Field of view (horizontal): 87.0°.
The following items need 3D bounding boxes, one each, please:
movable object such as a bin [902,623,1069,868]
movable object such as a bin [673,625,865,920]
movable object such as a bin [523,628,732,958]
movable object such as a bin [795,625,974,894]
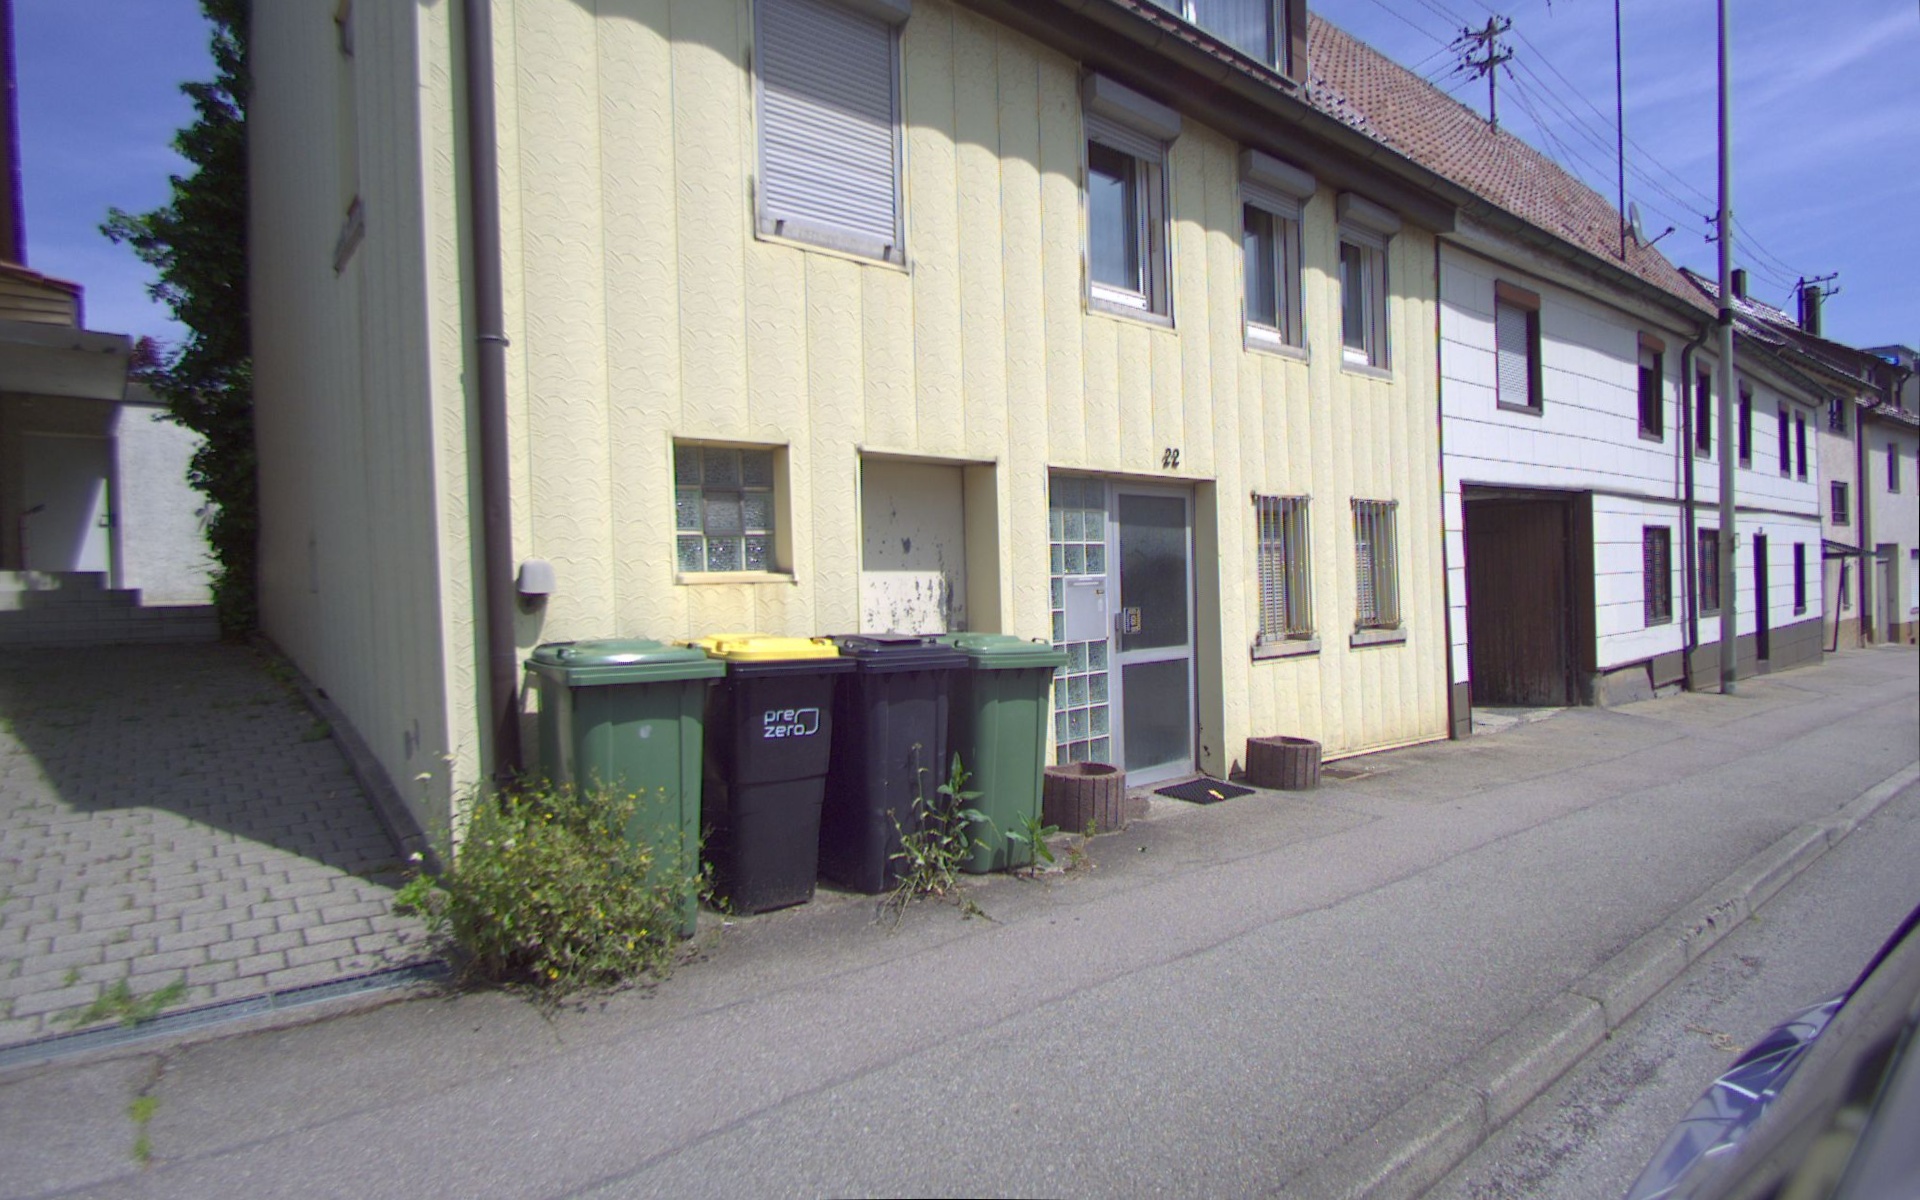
[{"bbox_3d":[0.119,0.659,4.888,0.542,1.046,0.548,1,2,-40],"label":"movable object such as a bin"},{"bbox_3d":[-0.782,0.648,4.115,0.542,1.046,0.548,1,2,-40],"label":"movable object such as a bin"},{"bbox_3d":[-1.227,0.649,3.724,0.542,1.046,0.548,1,2,-40],"label":"movable object such as a bin"},{"bbox_3d":[-0.338,0.659,4.485,0.542,1.046,0.548,1,2,-40],"label":"movable object such as a bin"}]
